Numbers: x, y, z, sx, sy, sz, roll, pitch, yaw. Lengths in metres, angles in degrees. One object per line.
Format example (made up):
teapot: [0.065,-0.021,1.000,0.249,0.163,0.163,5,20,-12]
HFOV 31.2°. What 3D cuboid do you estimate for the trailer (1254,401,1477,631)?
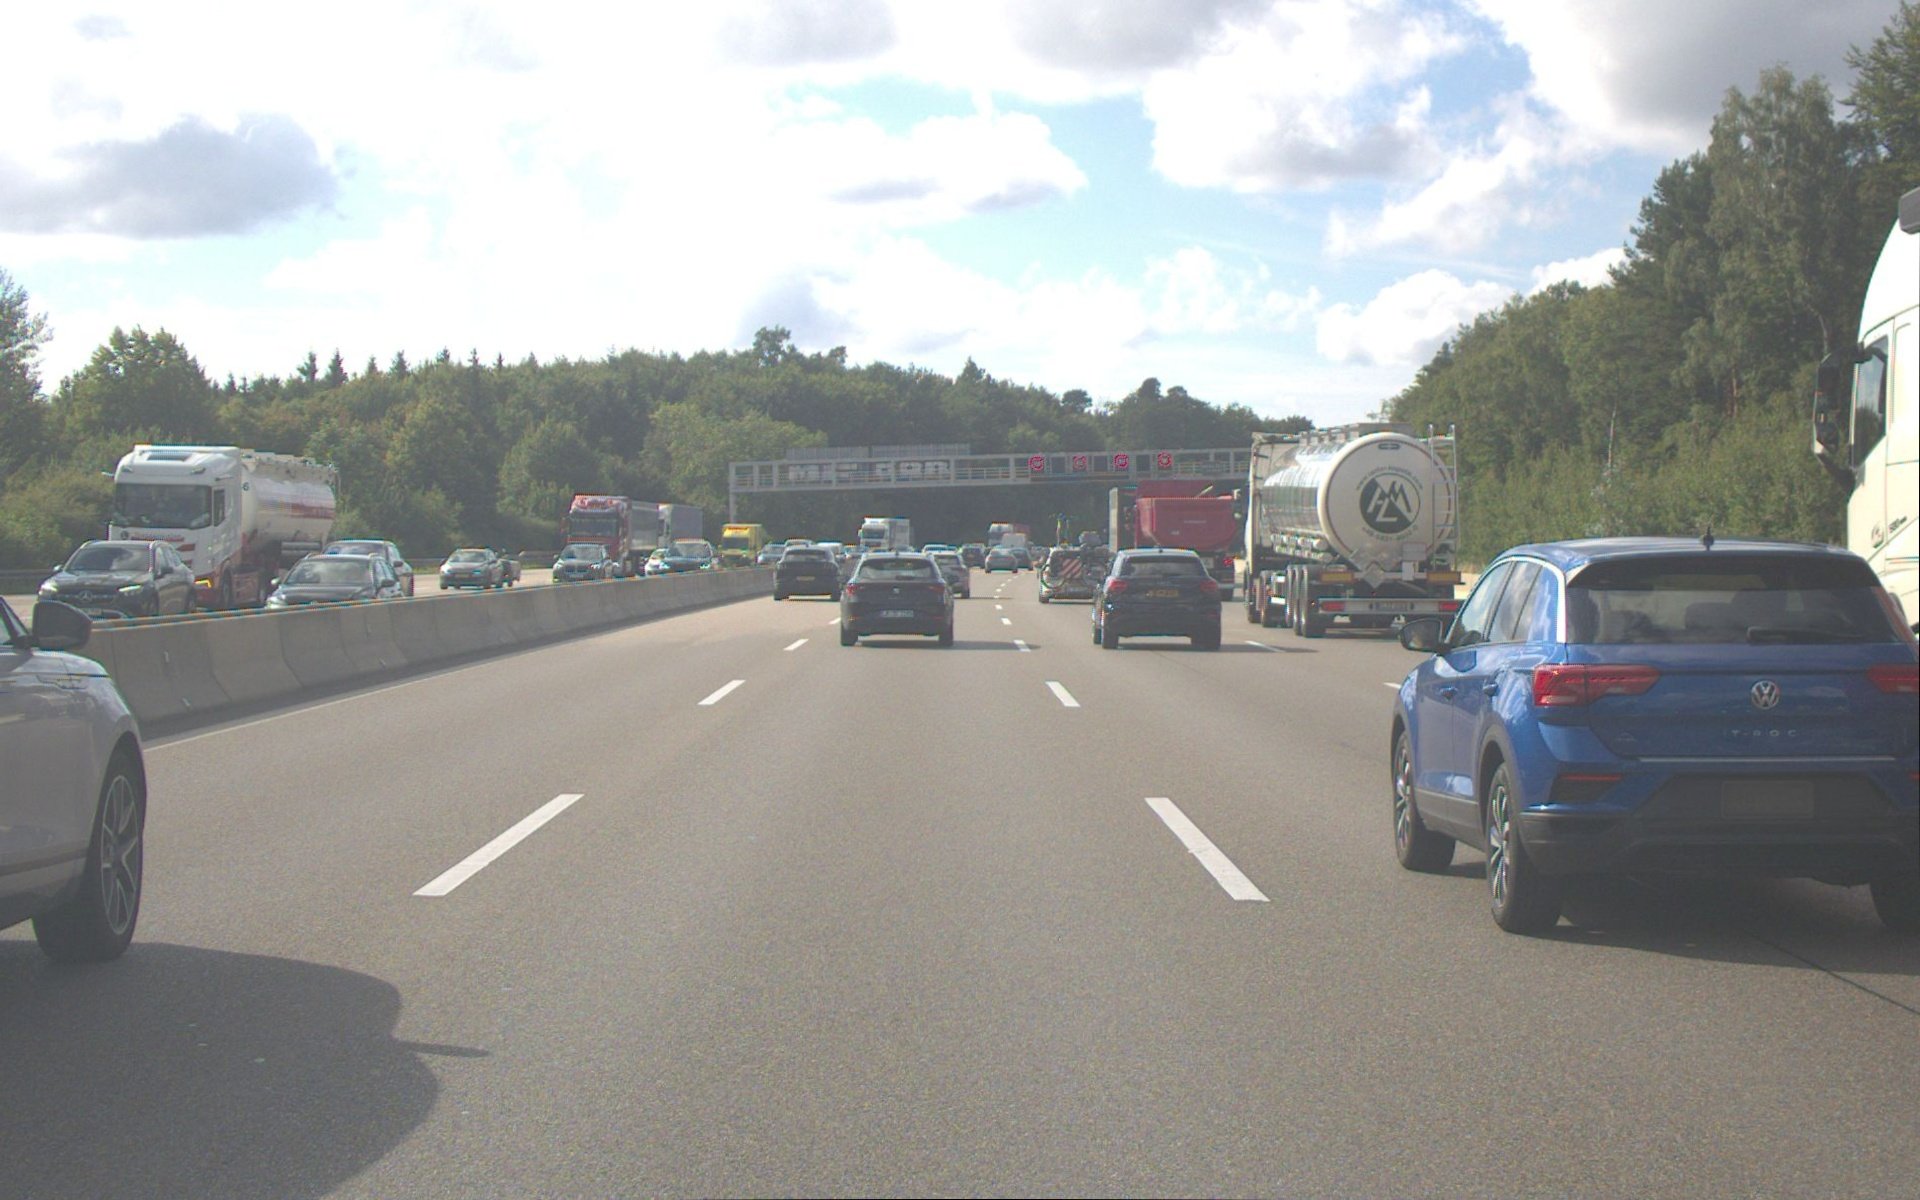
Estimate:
trailer: [7.170,-1.490,62.468,2.649,3.754,11.860,0,1,0]

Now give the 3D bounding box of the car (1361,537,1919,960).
car: [2.871,0.499,14.700,1.773,1.525,4.458,0,1,0]

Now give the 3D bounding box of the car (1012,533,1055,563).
car: [3.626,-2.574,170.155,1.942,1.452,4.000,-1,1,-1]

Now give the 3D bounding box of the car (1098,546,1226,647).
car: [3.054,-0.082,52.582,1.822,1.452,4.000,-1,1,2]

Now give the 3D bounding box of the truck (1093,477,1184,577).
truck: [7.309,-3.004,142.208,3.118,3.921,10.412,-1,1,0]

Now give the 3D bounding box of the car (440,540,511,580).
car: [-17.466,-1.470,124.062,1.827,1.409,4.675,0,1,1]

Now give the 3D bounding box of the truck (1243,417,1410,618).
truck: [7.194,-1.620,68.206,2.649,3.810,6.082,0,1,0]

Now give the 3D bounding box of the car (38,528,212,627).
car: [-14.297,-0.414,59.099,1.859,1.614,4.748,0,1,0]

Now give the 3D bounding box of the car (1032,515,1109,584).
car: [3.035,-1.399,95.179,1.893,1.850,4.101,1,1,-1]

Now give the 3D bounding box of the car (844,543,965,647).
car: [-0.879,-0.111,53.441,1.822,1.541,4.000,0,1,-1]

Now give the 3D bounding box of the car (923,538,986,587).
car: [-0.151,-1.153,104.971,1.822,1.452,4.000,-1,1,1]

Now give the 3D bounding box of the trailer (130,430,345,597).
trailer: [-18.154,-2.159,87.264,2.788,3.932,12.253,0,1,0]

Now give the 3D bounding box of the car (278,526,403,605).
car: [-13.764,-0.795,76.686,1.855,1.664,5.211,-1,1,0]

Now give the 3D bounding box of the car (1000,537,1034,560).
car: [3.741,-3.432,227.186,2.077,1.452,4.000,-1,1,-1]

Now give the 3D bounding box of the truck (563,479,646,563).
truck: [-16.578,-3.661,160.720,2.967,3.845,6.765,0,1,2]

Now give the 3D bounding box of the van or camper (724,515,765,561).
van or camper: [-13.789,-3.960,219.862,2.373,2.882,6.507,-1,1,-2]

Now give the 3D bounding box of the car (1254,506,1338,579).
car: [9.297,-1.592,95.337,1.893,1.950,4.100,1,1,0]

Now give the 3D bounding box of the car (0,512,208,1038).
car: [-3.937,0.517,10.863,2.006,1.611,5.301,1,1,-1]

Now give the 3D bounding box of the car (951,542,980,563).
car: [0.363,-3.353,241.260,1.929,1.452,4.392,-1,1,-1]

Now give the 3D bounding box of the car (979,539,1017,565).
car: [2.248,-2.851,204.279,2.077,1.452,4.000,-1,1,-1]

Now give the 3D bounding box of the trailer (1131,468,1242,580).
trailer: [6.799,-2.354,104.371,2.710,3.220,9.733,1,2,0]

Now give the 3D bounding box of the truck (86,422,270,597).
truck: [-18.217,-2.092,80.482,2.788,3.932,6.446,0,1,0]

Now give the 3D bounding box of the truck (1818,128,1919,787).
truck: [7.266,-0.858,20.475,2.774,4.031,5.774,0,1,-1]

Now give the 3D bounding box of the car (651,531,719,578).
car: [-10.118,-1.693,126.826,2.154,1.694,5.351,-1,1,-1]

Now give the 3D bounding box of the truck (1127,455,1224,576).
truck: [6.809,-2.701,109.222,2.710,3.706,5.818,1,2,0]

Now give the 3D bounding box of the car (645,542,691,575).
car: [-13.161,-1.883,154.855,1.603,1.398,4.000,2,1,1]

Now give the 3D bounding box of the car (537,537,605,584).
car: [-14.236,-1.474,125.912,1.994,1.658,4.687,-1,1,-1]

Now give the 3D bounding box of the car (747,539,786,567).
car: [-11.771,-2.860,209.069,1.844,1.590,4.913,-1,1,3]

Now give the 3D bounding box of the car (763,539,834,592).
car: [-4.630,-1.021,99.186,1.942,1.452,4.000,-1,1,-2]
